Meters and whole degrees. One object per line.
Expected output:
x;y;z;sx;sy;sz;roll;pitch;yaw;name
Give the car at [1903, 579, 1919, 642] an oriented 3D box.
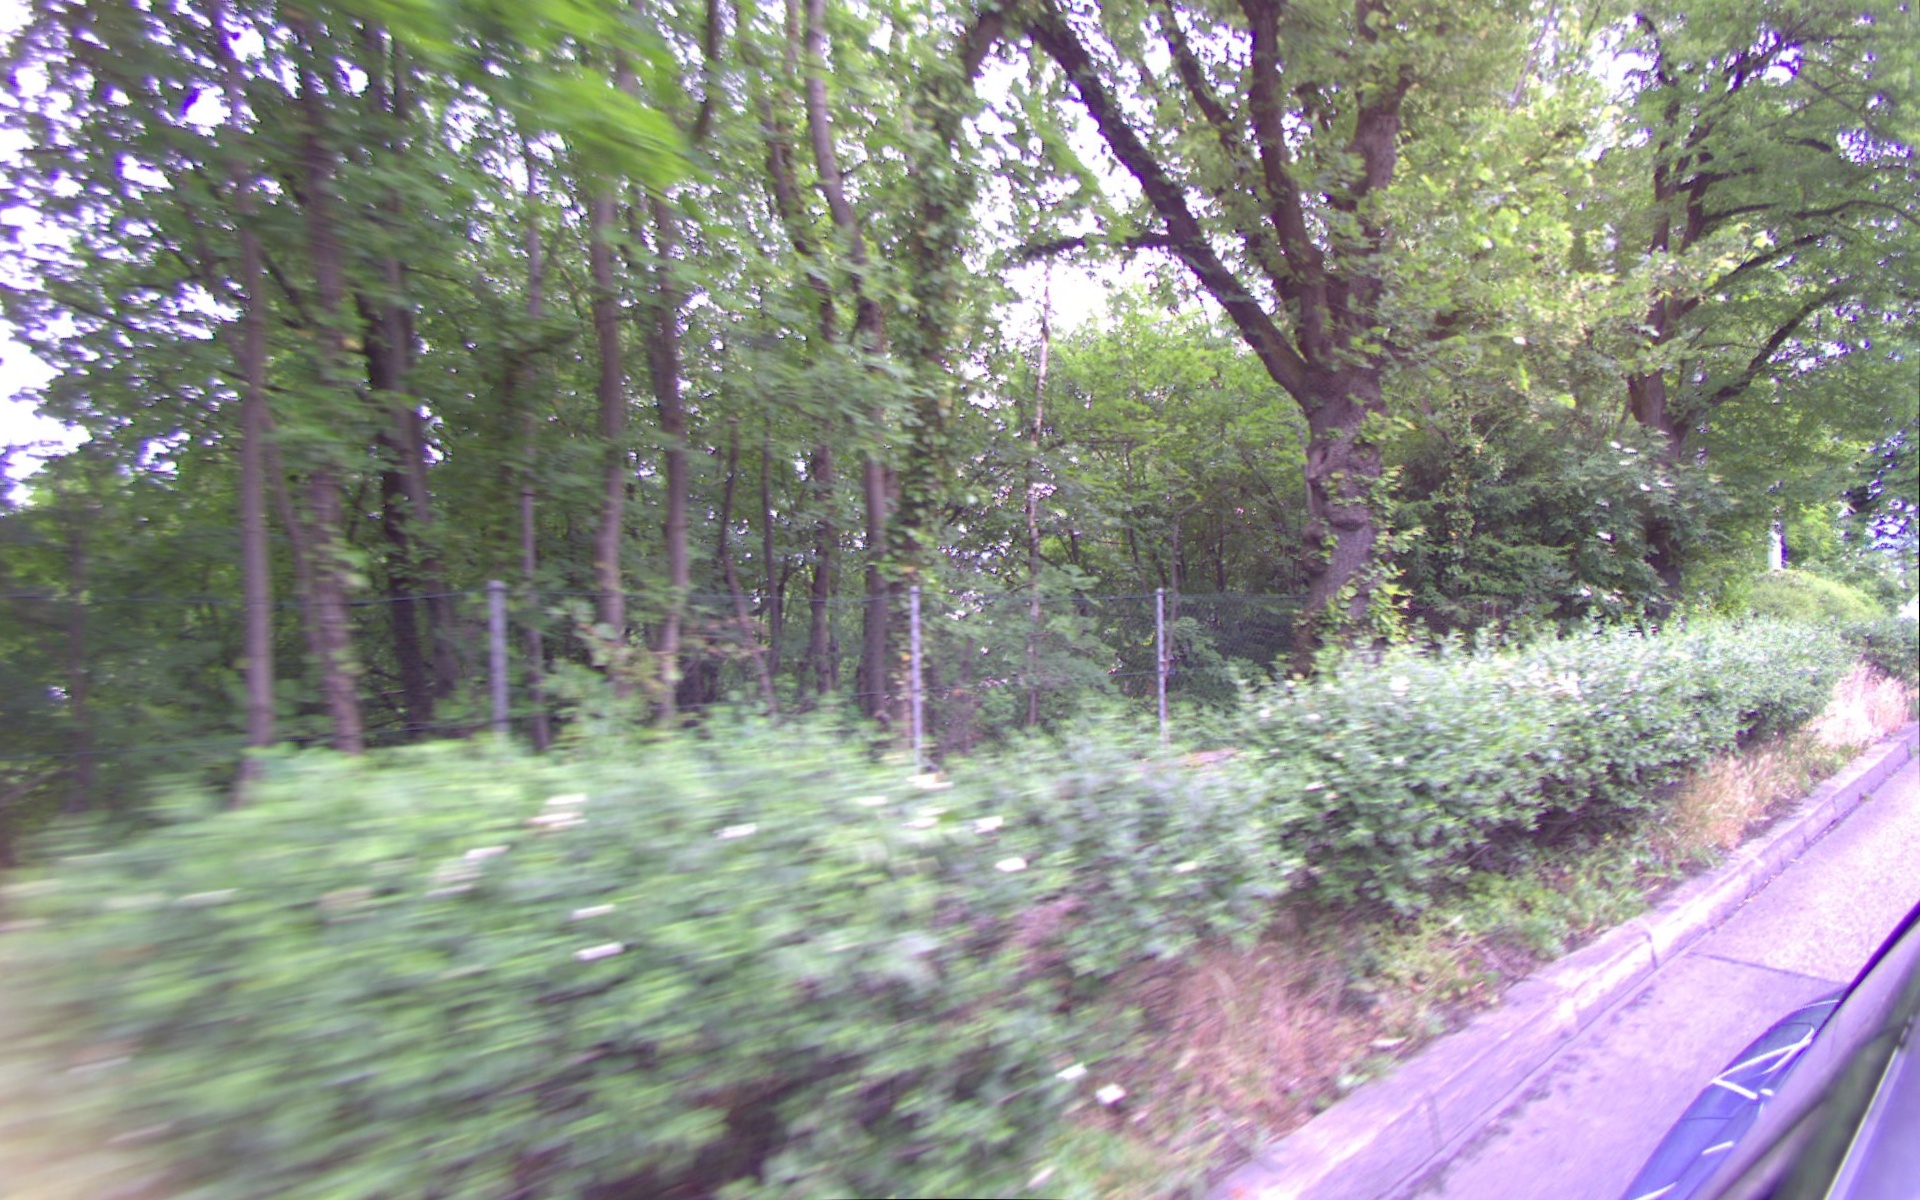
24.387;0.293;24.524;3.823;1.459;1.765;0;3;-41;car
